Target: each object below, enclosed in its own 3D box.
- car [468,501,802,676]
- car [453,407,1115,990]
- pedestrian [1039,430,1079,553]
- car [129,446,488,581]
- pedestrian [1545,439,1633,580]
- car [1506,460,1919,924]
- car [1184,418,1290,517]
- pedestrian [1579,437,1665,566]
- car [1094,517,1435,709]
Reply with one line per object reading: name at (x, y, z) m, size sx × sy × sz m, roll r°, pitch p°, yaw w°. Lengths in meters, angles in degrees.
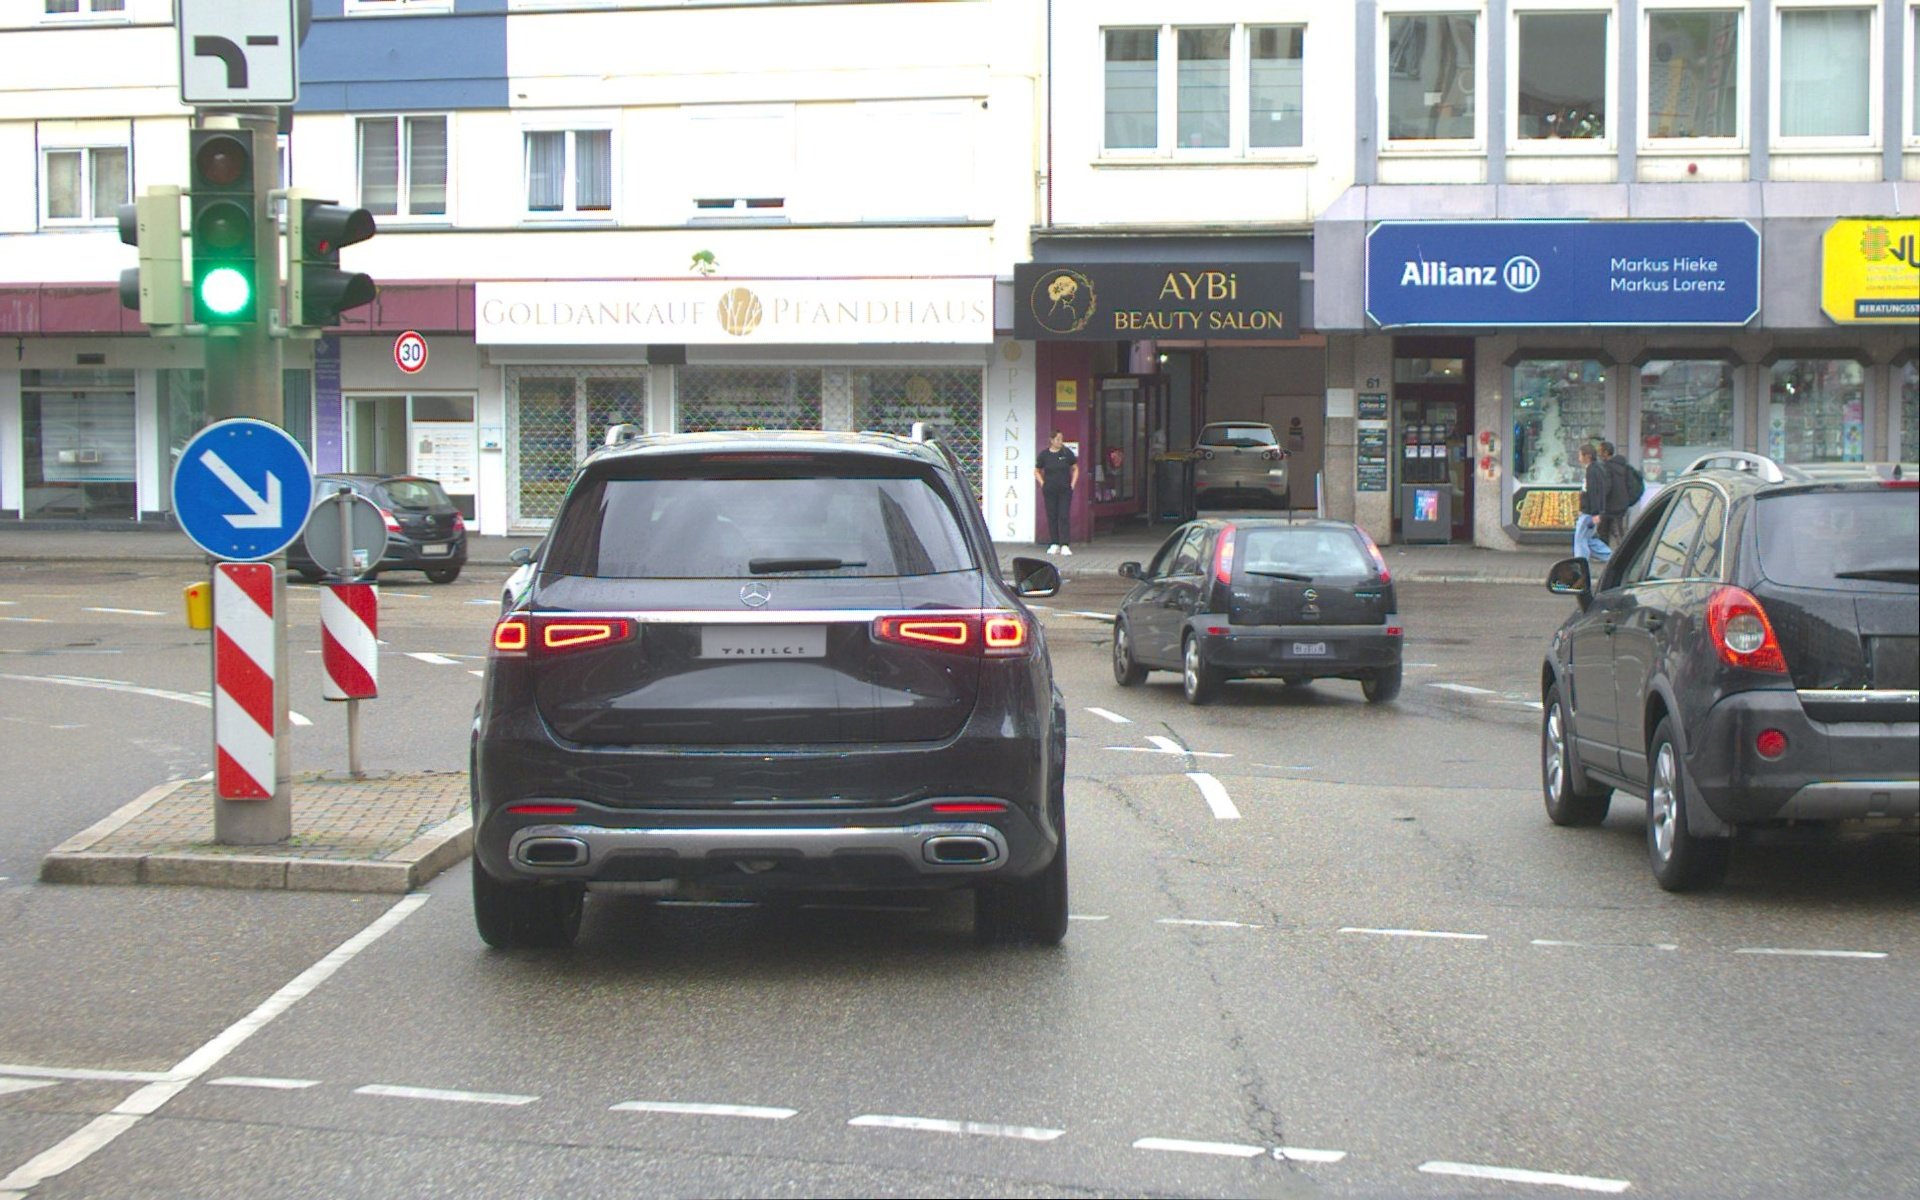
car at (-3.101, -0.150, 31.910) m, size 1.873 × 1.489 × 4.402 m, roll 1°, pitch 1°, yaw -22°
car at (-0.789, 0.265, 13.116) m, size 2.038 × 1.792 × 4.664 m, roll 1°, pitch 1°, yaw -6°
pedestrian at (1.414, -1.557, 49.042) m, size 0.564 × 1.683 × 0.756 m, roll 0°, pitch 7°, yaw 2°
car at (-8.634, -1.149, 45.503) m, size 4.488 × 1.653 × 1.826 m, roll 2°, pitch 0°, yaw 29°
pedestrian at (8.351, -1.205, 45.681) m, size 1.030 × 1.793 × 0.830 m, roll 0°, pitch 7°, yaw 5°
car at (3.643, 0.269, 14.758) m, size 1.897 × 1.689 × 4.506 m, roll 0°, pitch 2°, yaw 0°
car at (4.862, -2.301, 60.478) m, size 1.797 × 1.664 × 4.000 m, roll 0°, pitch 1°, yaw 4°
pedestrian at (9.054, -1.352, 47.064) m, size 1.030 × 1.683 × 0.830 m, roll 0°, pitch 7°, yaw 5°
car at (2.340, 0.051, 27.447) m, size 1.766 × 1.392 × 4.001 m, roll -1°, pitch 1°, yaw -9°
